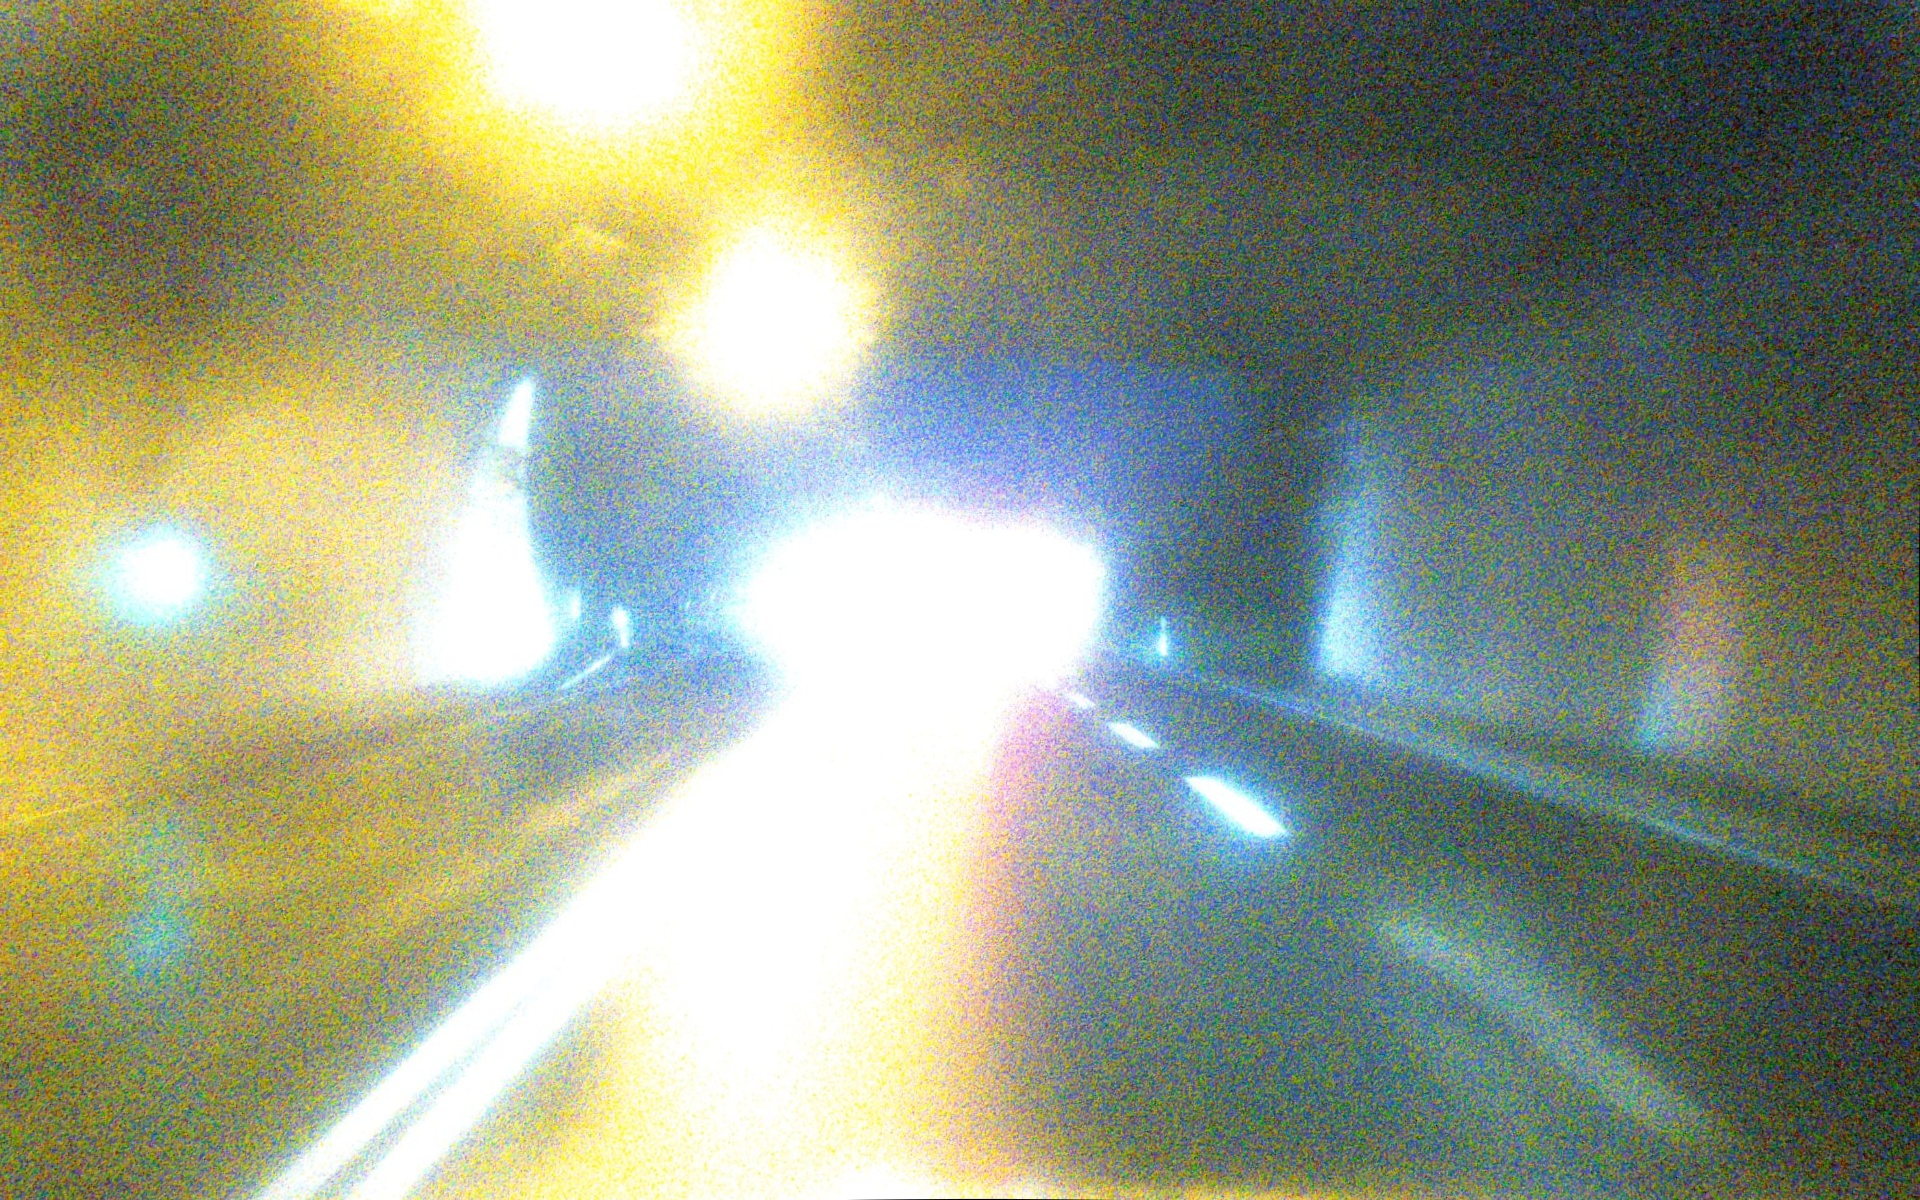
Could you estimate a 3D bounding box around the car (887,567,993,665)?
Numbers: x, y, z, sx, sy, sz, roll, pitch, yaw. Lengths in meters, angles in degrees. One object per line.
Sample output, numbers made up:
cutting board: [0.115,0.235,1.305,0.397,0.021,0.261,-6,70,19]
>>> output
car: [-0.366,0.279,29.911,1.772,1.650,3.999,0,0,-1]

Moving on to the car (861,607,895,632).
car: [-5.163,1.208,104.594,1.953,1.499,4.275,1,0,0]
